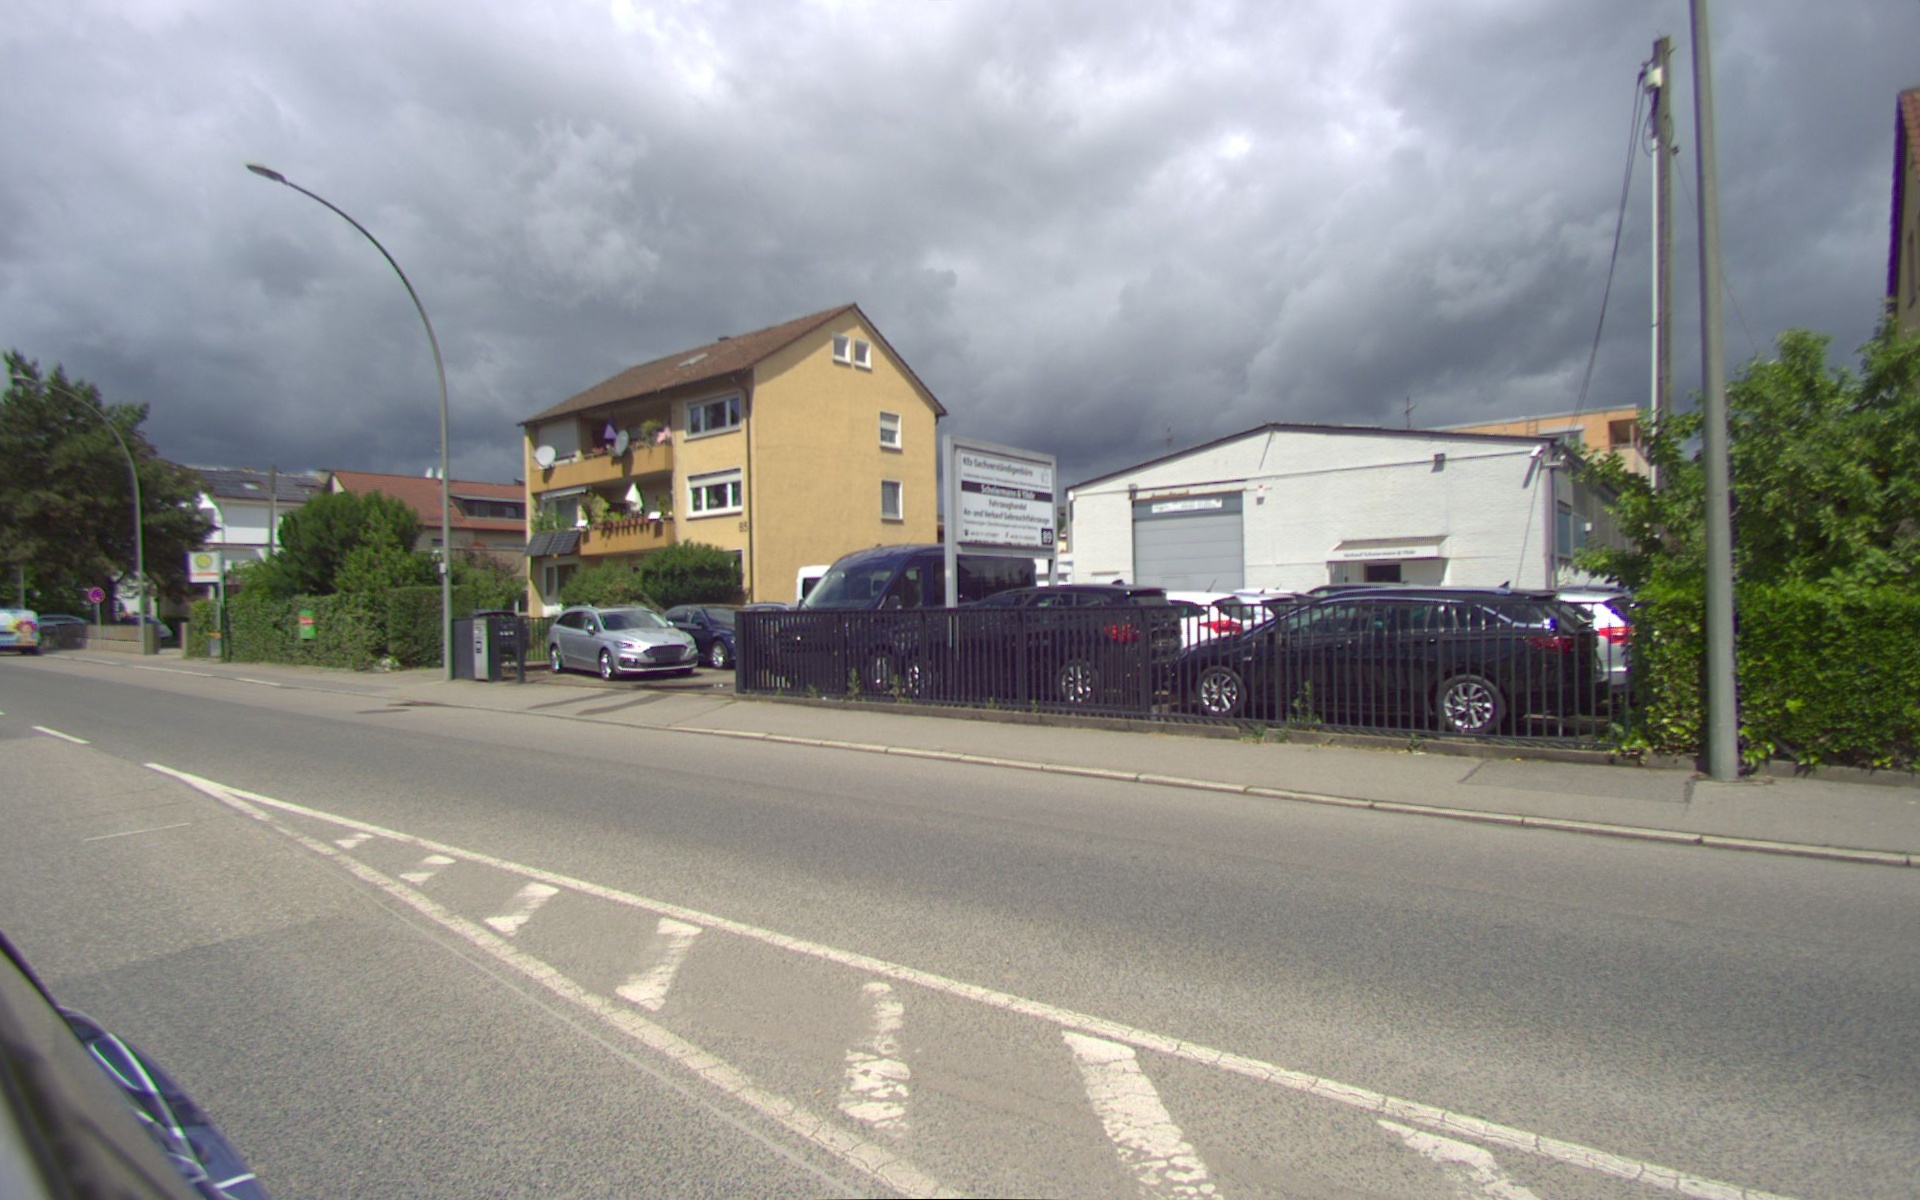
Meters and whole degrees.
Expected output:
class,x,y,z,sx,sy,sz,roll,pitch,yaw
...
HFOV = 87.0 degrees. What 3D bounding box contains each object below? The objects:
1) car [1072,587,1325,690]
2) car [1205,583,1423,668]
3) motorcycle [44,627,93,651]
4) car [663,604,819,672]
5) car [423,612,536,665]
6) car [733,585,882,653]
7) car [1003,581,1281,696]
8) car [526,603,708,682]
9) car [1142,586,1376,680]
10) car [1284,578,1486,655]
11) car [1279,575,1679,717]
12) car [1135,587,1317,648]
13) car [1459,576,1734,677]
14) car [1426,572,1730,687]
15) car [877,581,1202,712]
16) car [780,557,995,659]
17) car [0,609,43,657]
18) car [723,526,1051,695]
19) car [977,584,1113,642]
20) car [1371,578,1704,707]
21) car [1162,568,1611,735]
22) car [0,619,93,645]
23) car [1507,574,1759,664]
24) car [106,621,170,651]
class,x,y,z,sx,sy,sz,roll,pitch,yaw
car,4.155,0.645,17.851,3.990,1.630,1.761,-1,-1,35
car,7.360,0.520,21.191,3.990,1.630,1.761,-1,-1,35
motorcycle,-46.799,2.038,53.150,1.845,1.174,0.827,0,-1,-34
car,-5.247,0.846,23.831,1.821,1.437,4.338,0,-1,-39
car,-14.389,1.107,30.183,1.823,1.437,4.335,0,-1,-43
car,-3.974,0.483,25.897,1.821,1.589,4.338,0,-1,-39
car,2.846,0.580,16.137,3.990,1.630,1.761,-1,-1,35
car,-7.577,0.852,21.989,1.968,1.497,5.349,0,-1,-39
car,5.741,0.612,19.580,3.990,1.630,1.761,-1,-1,35
car,9.708,0.389,23.223,3.990,1.630,1.761,-1,-1,35
car,6.544,0.526,12.932,4.260,1.518,2.134,-1,-1,37
car,8.060,0.546,30.917,4.998,1.726,2.030,-1,-1,37
car,11.307,0.469,18.183,3.990,1.630,1.761,-1,-1,35
car,9.840,0.450,16.260,3.994,1.630,1.759,-1,-1,38
car,1.067,0.618,14.593,4.277,1.607,2.013,-1,-1,37
car,-2.120,0.287,27.894,6.134,2.514,2.386,-1,-3,43
car,-39.591,1.394,41.804,4.891,1.868,1.815,-2,-5,40
car,-1.070,0.183,18.238,2.475,2.515,5.977,-1,-1,39
car,2.827,0.448,34.145,4.328,1.805,1.826,-1,-1,41
car,8.284,0.573,14.675,3.994,1.630,1.759,-1,-1,38
car,4.700,0.514,11.381,4.260,1.518,2.133,-1,-1,37
car,-60.747,2.074,66.888,1.970,1.563,4.960,-1,0,38
car,13.222,0.380,20.093,3.990,1.630,1.761,-1,-1,35
car,-45.727,1.992,56.284,4.079,1.555,1.751,-1,-1,36
